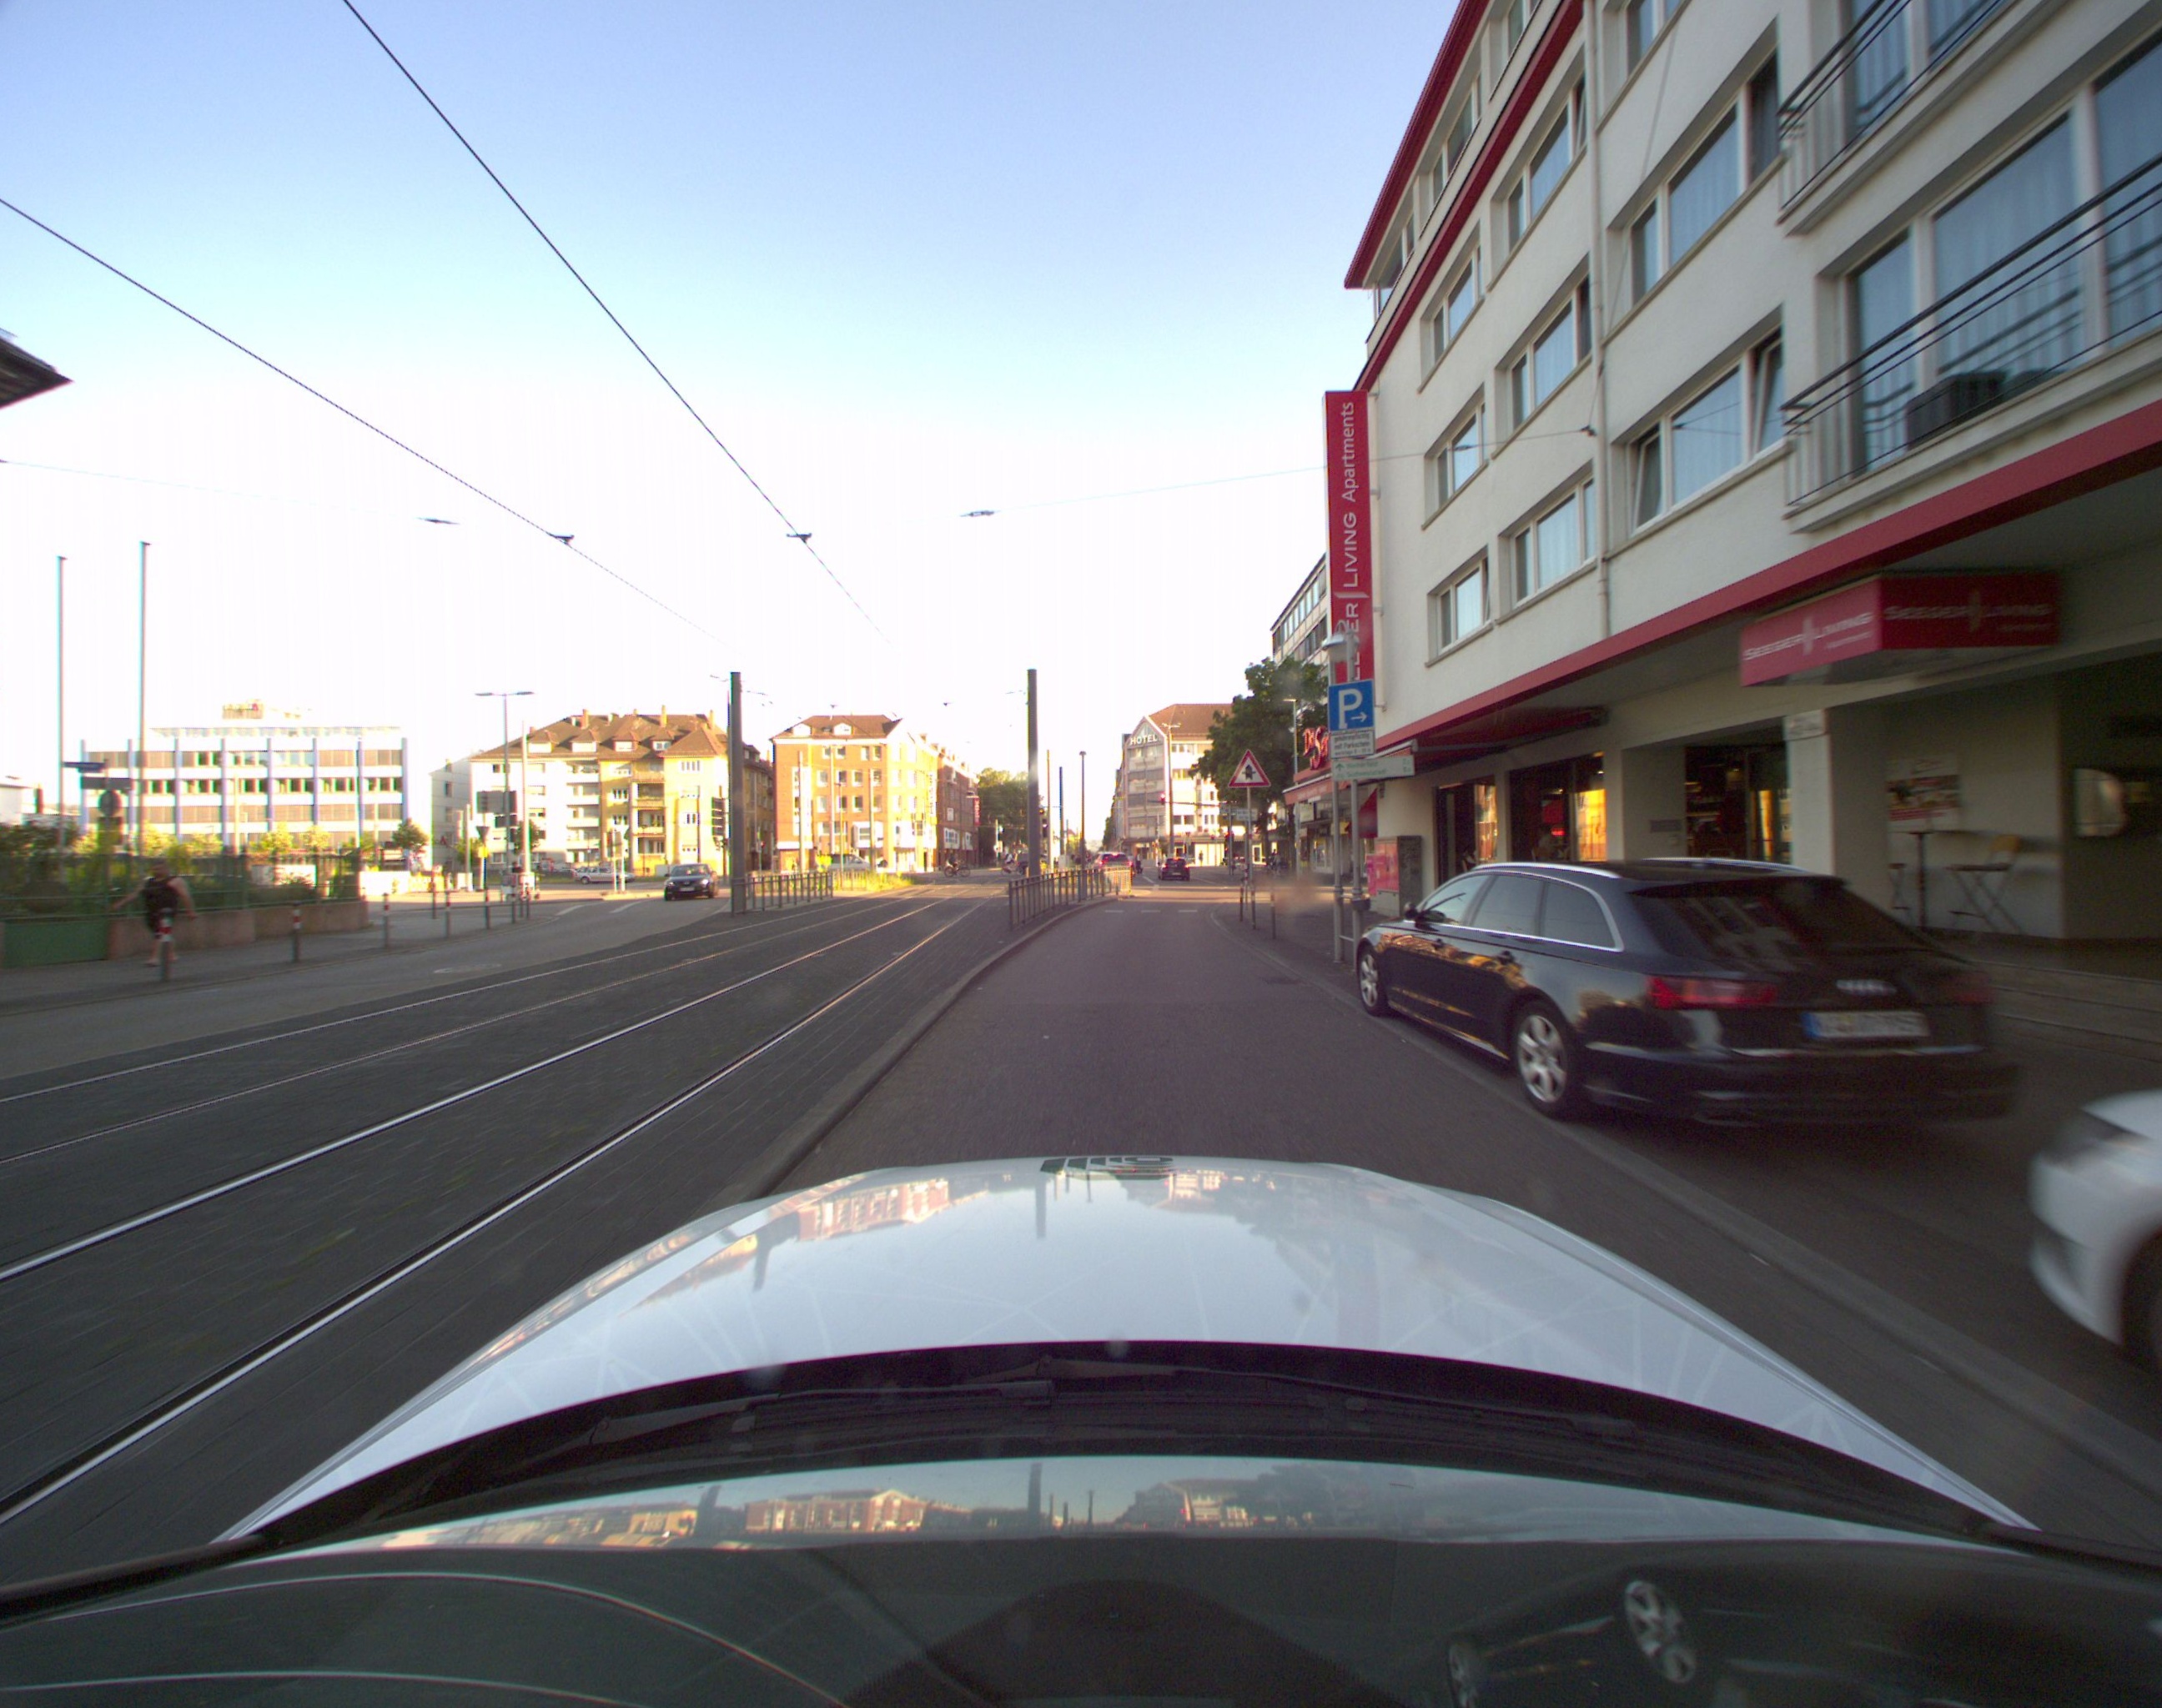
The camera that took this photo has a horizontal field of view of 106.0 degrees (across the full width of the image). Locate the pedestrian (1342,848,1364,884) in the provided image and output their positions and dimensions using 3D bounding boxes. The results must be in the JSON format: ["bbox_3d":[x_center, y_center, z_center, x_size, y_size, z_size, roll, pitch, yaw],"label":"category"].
[{"bbox_3d":[12.949,0.571,38.792,0.743,1.684,0.895,0,-1,2],"label":"pedestrian"}]

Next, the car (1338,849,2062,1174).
[{"bbox_3d":[3.461,0.715,5.927,1.783,1.413,4.688,0,-1,1],"label":"car"}]

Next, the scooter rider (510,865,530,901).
[{"bbox_3d":[-25.429,1.300,36.929,0.586,1.593,0.653,1,-1,-20],"label":"scooter rider"}]

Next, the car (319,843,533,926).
[{"bbox_3d":[-17.526,0.761,22.040,3.994,2.013,1.990,-1,0,-15],"label":"car"}]

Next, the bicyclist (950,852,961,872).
[{"bbox_3d":[-9.598,0.637,62.357,0.705,1.511,0.547,-3,0,-14],"label":"bicyclist"}]

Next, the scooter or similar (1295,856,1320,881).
[{"bbox_3d":[11.287,0.733,40.554,0.296,1.218,1.206,1,-3,-43],"label":"scooter or similar"}]

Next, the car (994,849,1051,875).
[{"bbox_3d":[-4.923,0.639,68.422,4.562,2.037,1.992,-1,0,-11],"label":"car"}]

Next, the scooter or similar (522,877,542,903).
[{"bbox_3d":[-24.884,1.617,36.912,0.427,1.082,1.611,1,-1,-23],"label":"scooter or similar"}]

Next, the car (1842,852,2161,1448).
[{"bbox_3d":[3.377,0.700,0.682,1.645,1.421,4.192,0,-1,1],"label":"car"}]

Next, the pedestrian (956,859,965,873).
[{"bbox_3d":[-17.494,1.755,117.903,1.090,2.014,1.162,1,-1,-1],"label":"pedestrian"}]

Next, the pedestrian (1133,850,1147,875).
[{"bbox_3d":[4.378,0.613,60.779,0.991,1.830,0.729,0,-1,1],"label":"pedestrian"}]

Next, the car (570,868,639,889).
[{"bbox_3d":[-38.477,1.969,65.791,4.333,1.551,1.995,0,-1,-7],"label":"car"}]

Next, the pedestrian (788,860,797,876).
[{"bbox_3d":[-32.185,1.599,90.910,0.682,1.743,0.671,-1,-2,25],"label":"pedestrian"}]

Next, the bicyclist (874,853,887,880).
[{"bbox_3d":[-14.804,0.906,60.064,0.863,2.014,0.642,1,-1,-20],"label":"bicyclist"}]

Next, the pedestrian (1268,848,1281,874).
[{"bbox_3d":[13.472,0.507,56.768,0.743,1.778,0.801,0,-1,4],"label":"pedestrian"}]

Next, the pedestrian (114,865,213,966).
[{"bbox_3d":[-14.467,0.947,12.863,0.718,1.536,0.718,-2,-1,-3],"label":"pedestrian"}]

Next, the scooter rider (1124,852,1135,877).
[{"bbox_3d":[3.281,0.706,55.175,0.658,1.647,0.663,0,-1,9],"label":"scooter rider"}]

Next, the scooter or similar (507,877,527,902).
[{"bbox_3d":[-25.350,1.565,36.605,0.427,1.063,1.611,1,-1,-23],"label":"scooter or similar"}]

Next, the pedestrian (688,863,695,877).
[{"bbox_3d":[-47.212,1.954,98.632,0.549,1.642,0.500,1,-1,-1],"label":"pedestrian"}]

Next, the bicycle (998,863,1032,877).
[{"bbox_3d":[-5.164,1.235,64.136,2.636,1.100,0.435,1,-1,-5],"label":"bicycle"}]

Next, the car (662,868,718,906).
[{"bbox_3d":[-15.684,1.275,32.832,1.774,1.376,4.191,-1,-1,-22],"label":"car"}]

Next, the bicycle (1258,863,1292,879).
[{"bbox_3d":[10.774,0.941,45.240,1.808,0.891,0.416,0,-1,8],"label":"bicycle"}]

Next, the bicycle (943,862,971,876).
[{"bbox_3d":[-9.494,1.124,62.381,2.032,1.028,0.416,0,-1,-5],"label":"bicycle"}]

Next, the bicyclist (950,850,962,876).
[{"bbox_3d":[-9.731,0.731,63.438,0.863,2.014,0.642,1,-1,-18],"label":"bicyclist"}]

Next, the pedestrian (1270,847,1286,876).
[{"bbox_3d":[12.243,0.441,50.604,0.743,1.778,0.974,0,-1,2],"label":"pedestrian"}]

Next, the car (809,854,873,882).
[{"bbox_3d":[-19.060,1.098,64.851,4.690,2.013,1.990,-1,0,-14],"label":"car"}]

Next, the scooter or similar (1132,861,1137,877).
[{"bbox_3d":[3.627,1.026,55.323,0.278,1.091,1.259,0,-1,8],"label":"scooter or similar"}]

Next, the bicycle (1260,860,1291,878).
[{"bbox_3d":[11.037,0.862,46.189,1.648,0.974,0.387,0,-1,8],"label":"bicycle"}]

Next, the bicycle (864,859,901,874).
[{"bbox_3d":[-14.660,0.945,60.217,2.648,1.100,0.433,1,-1,-19],"label":"bicycle"}]

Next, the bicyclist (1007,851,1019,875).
[{"bbox_3d":[-5.345,0.711,64.097,0.859,1.878,0.645,1,-1,-6],"label":"bicyclist"}]

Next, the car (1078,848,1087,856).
[{"bbox_3d":[0.340,-0.422,196.967,1.986,1.901,4.002,0,-1,2],"label":"car"}]

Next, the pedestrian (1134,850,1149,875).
[{"bbox_3d":[4.463,0.625,59.980,0.991,1.830,0.728,1,-1,-1],"label":"pedestrian"}]

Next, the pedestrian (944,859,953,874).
[{"bbox_3d":[-18.435,1.734,113.152,1.090,2.014,0.908,1,-1,-2],"label":"pedestrian"}]

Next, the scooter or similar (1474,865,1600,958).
[{"bbox_3d":[6.178,0.758,11.082,1.420,1.194,0.337,-2,0,45],"label":"scooter or similar"}]

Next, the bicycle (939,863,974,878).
[{"bbox_3d":[-9.724,1.296,63.427,2.648,1.100,0.433,1,-1,-19],"label":"bicycle"}]

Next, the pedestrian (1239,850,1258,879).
[{"bbox_3d":[10.075,0.630,49.056,0.823,1.685,1.045,1,-1,-9],"label":"pedestrian"}]

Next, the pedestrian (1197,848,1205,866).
[{"bbox_3d":[11.824,0.336,80.236,0.743,1.778,0.801,0,-1,3],"label":"pedestrian"}]

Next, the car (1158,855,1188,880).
[{"bbox_3d":[5.673,0.818,50.112,1.755,1.440,4.008,-1,0,7],"label":"car"}]

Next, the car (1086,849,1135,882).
[{"bbox_3d":[1.509,0.610,42.864,1.835,1.636,4.077,-1,0,-9],"label":"car"}]
